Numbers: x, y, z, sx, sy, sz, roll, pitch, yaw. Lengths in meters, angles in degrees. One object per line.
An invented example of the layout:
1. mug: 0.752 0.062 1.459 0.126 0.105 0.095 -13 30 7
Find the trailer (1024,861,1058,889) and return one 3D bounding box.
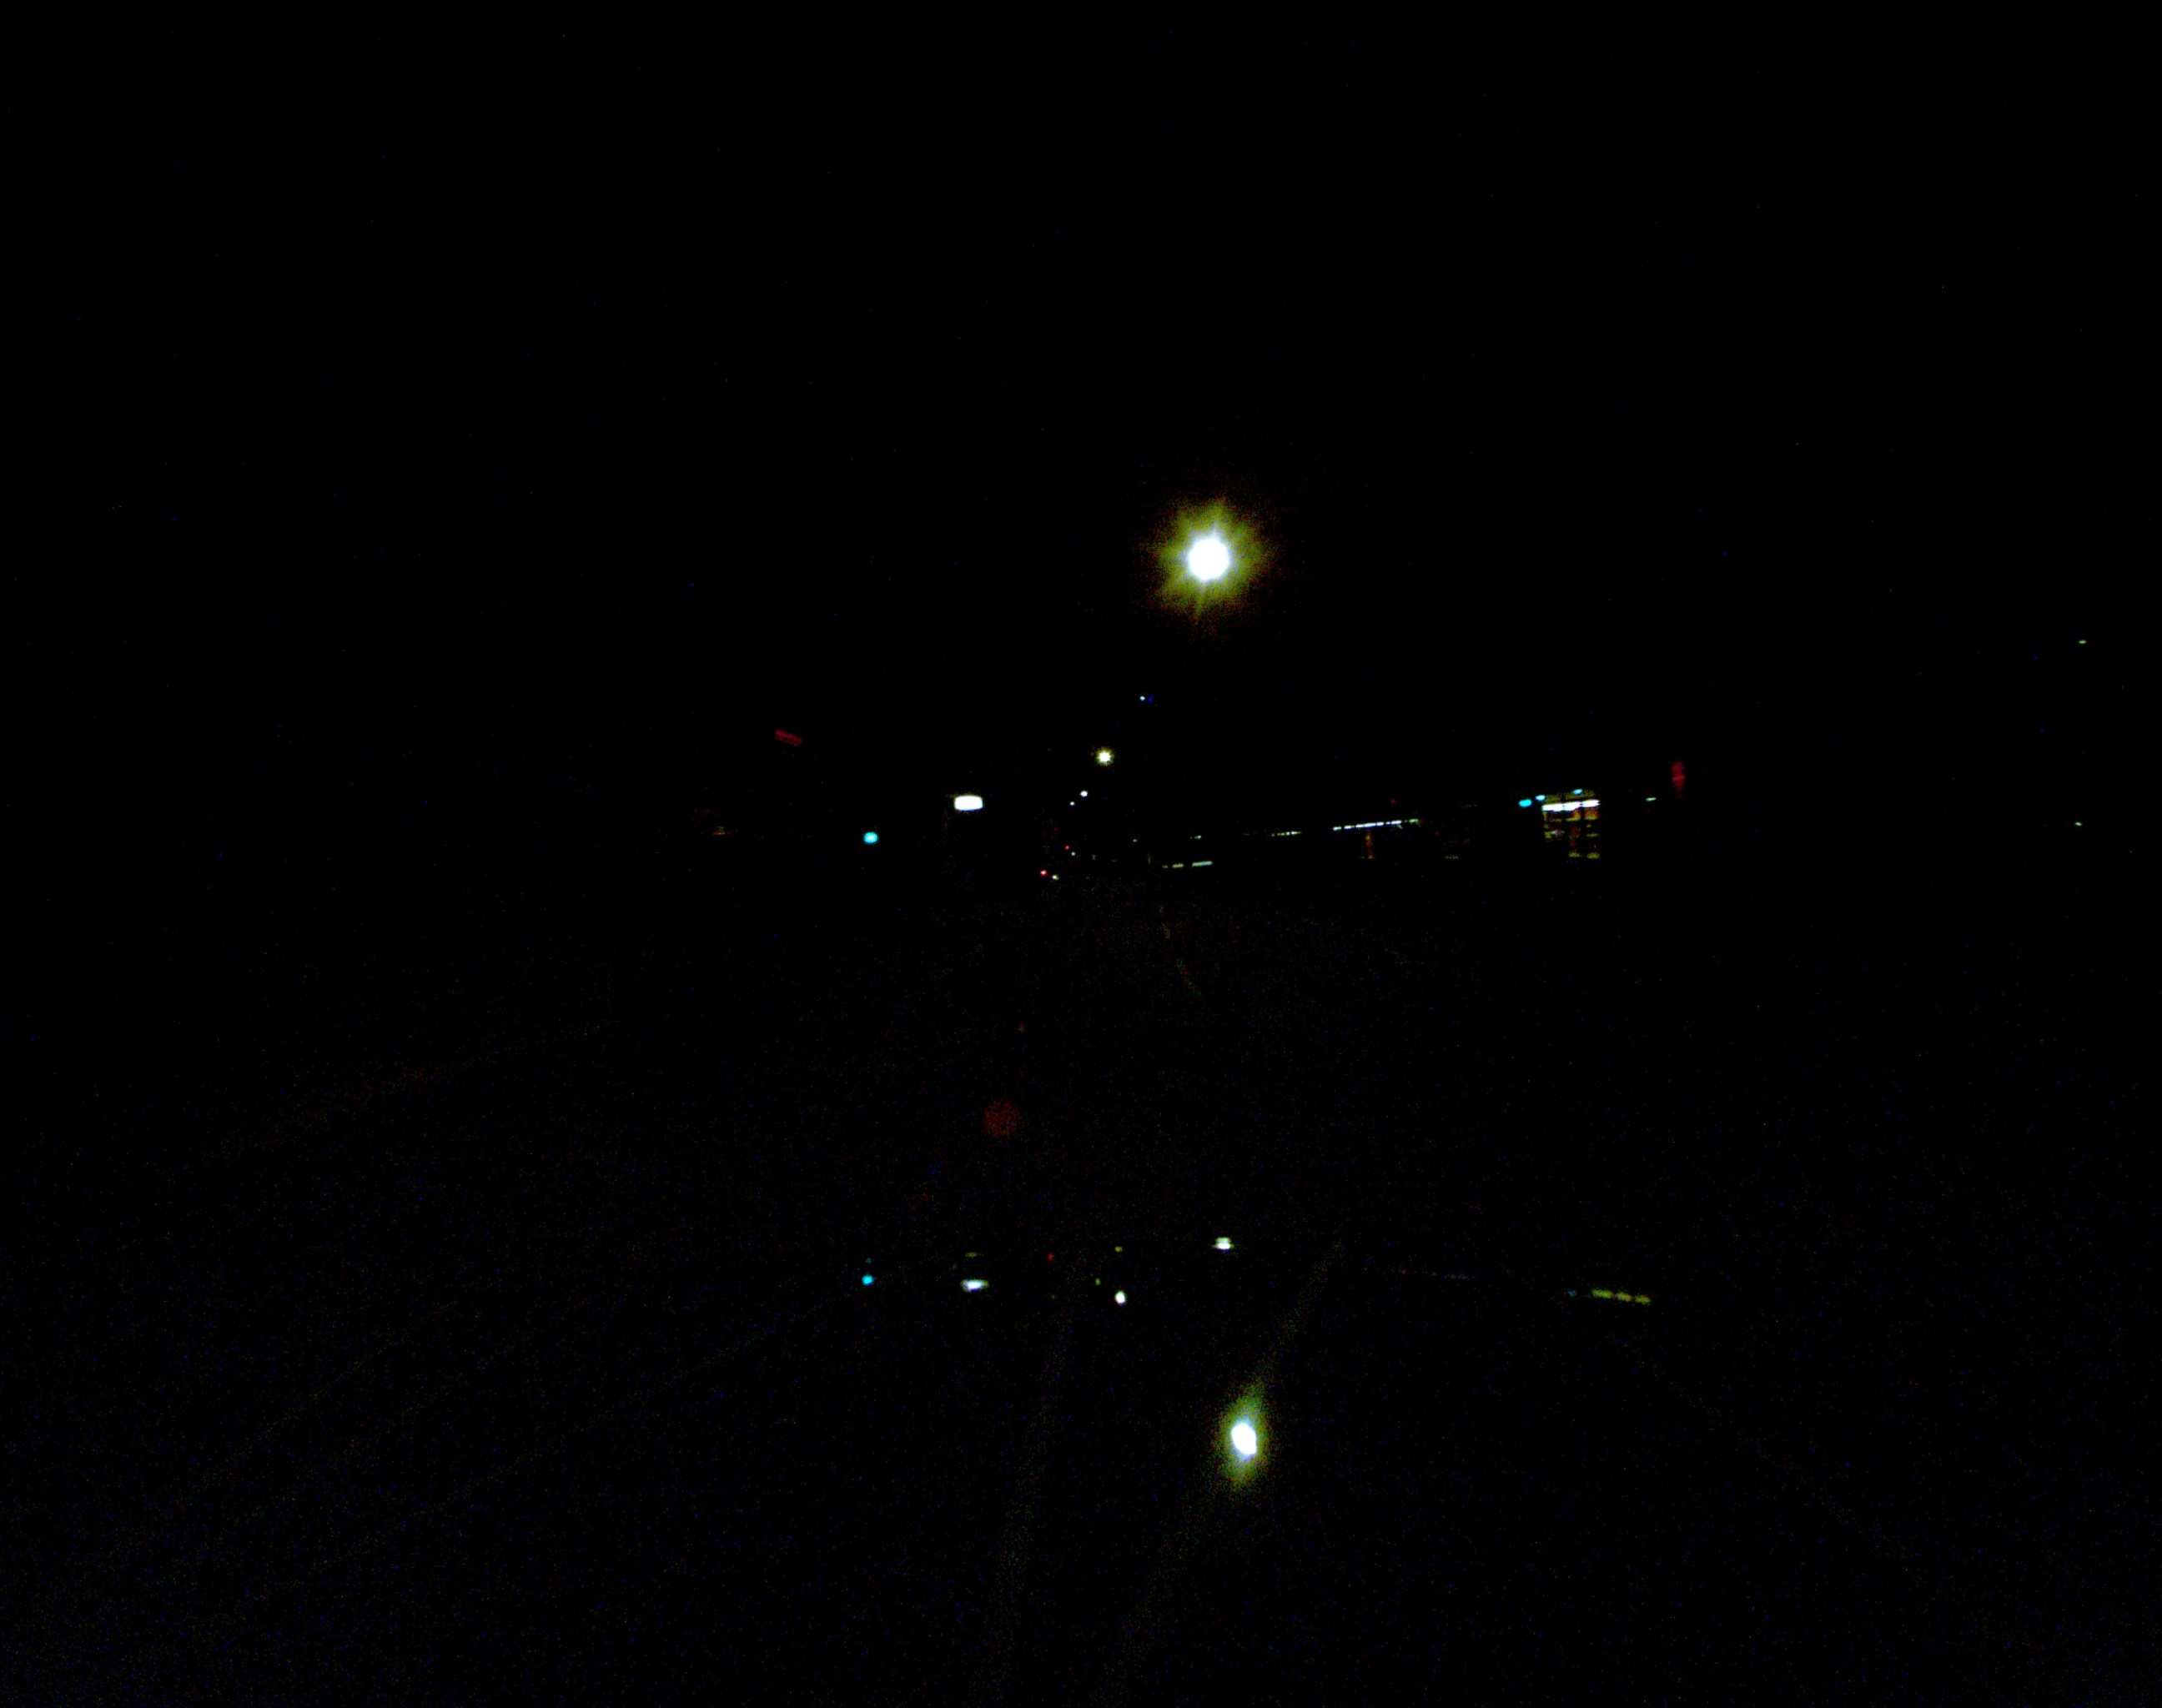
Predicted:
1. trailer: -2.440 1.278 46.817 1.604 1.486 3.734 -4 0 2

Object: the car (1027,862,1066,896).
1. car: -1.673 1.189 37.414 1.590 1.452 3.797 -4 0 1

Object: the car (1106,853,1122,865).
1. car: 4.392 0.700 102.710 1.826 1.423 3.731 -6 0 0

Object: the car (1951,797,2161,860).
1. car: 27.504 -0.748 21.236 4.387 1.386 1.831 -4 5 -2

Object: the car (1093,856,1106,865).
1. car: 3.408 1.267 139.417 1.826 1.423 3.730 -6 0 -3

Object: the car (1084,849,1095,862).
1. car: 1.856 0.364 168.731 2.005 2.493 4.953 -6 0 -3

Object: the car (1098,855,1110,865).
1. car: 3.767 0.998 124.752 1.826 1.637 3.731 -2 0 0

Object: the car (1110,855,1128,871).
1. car: 4.787 1.073 96.722 1.883 1.798 3.731 -6 0 0
